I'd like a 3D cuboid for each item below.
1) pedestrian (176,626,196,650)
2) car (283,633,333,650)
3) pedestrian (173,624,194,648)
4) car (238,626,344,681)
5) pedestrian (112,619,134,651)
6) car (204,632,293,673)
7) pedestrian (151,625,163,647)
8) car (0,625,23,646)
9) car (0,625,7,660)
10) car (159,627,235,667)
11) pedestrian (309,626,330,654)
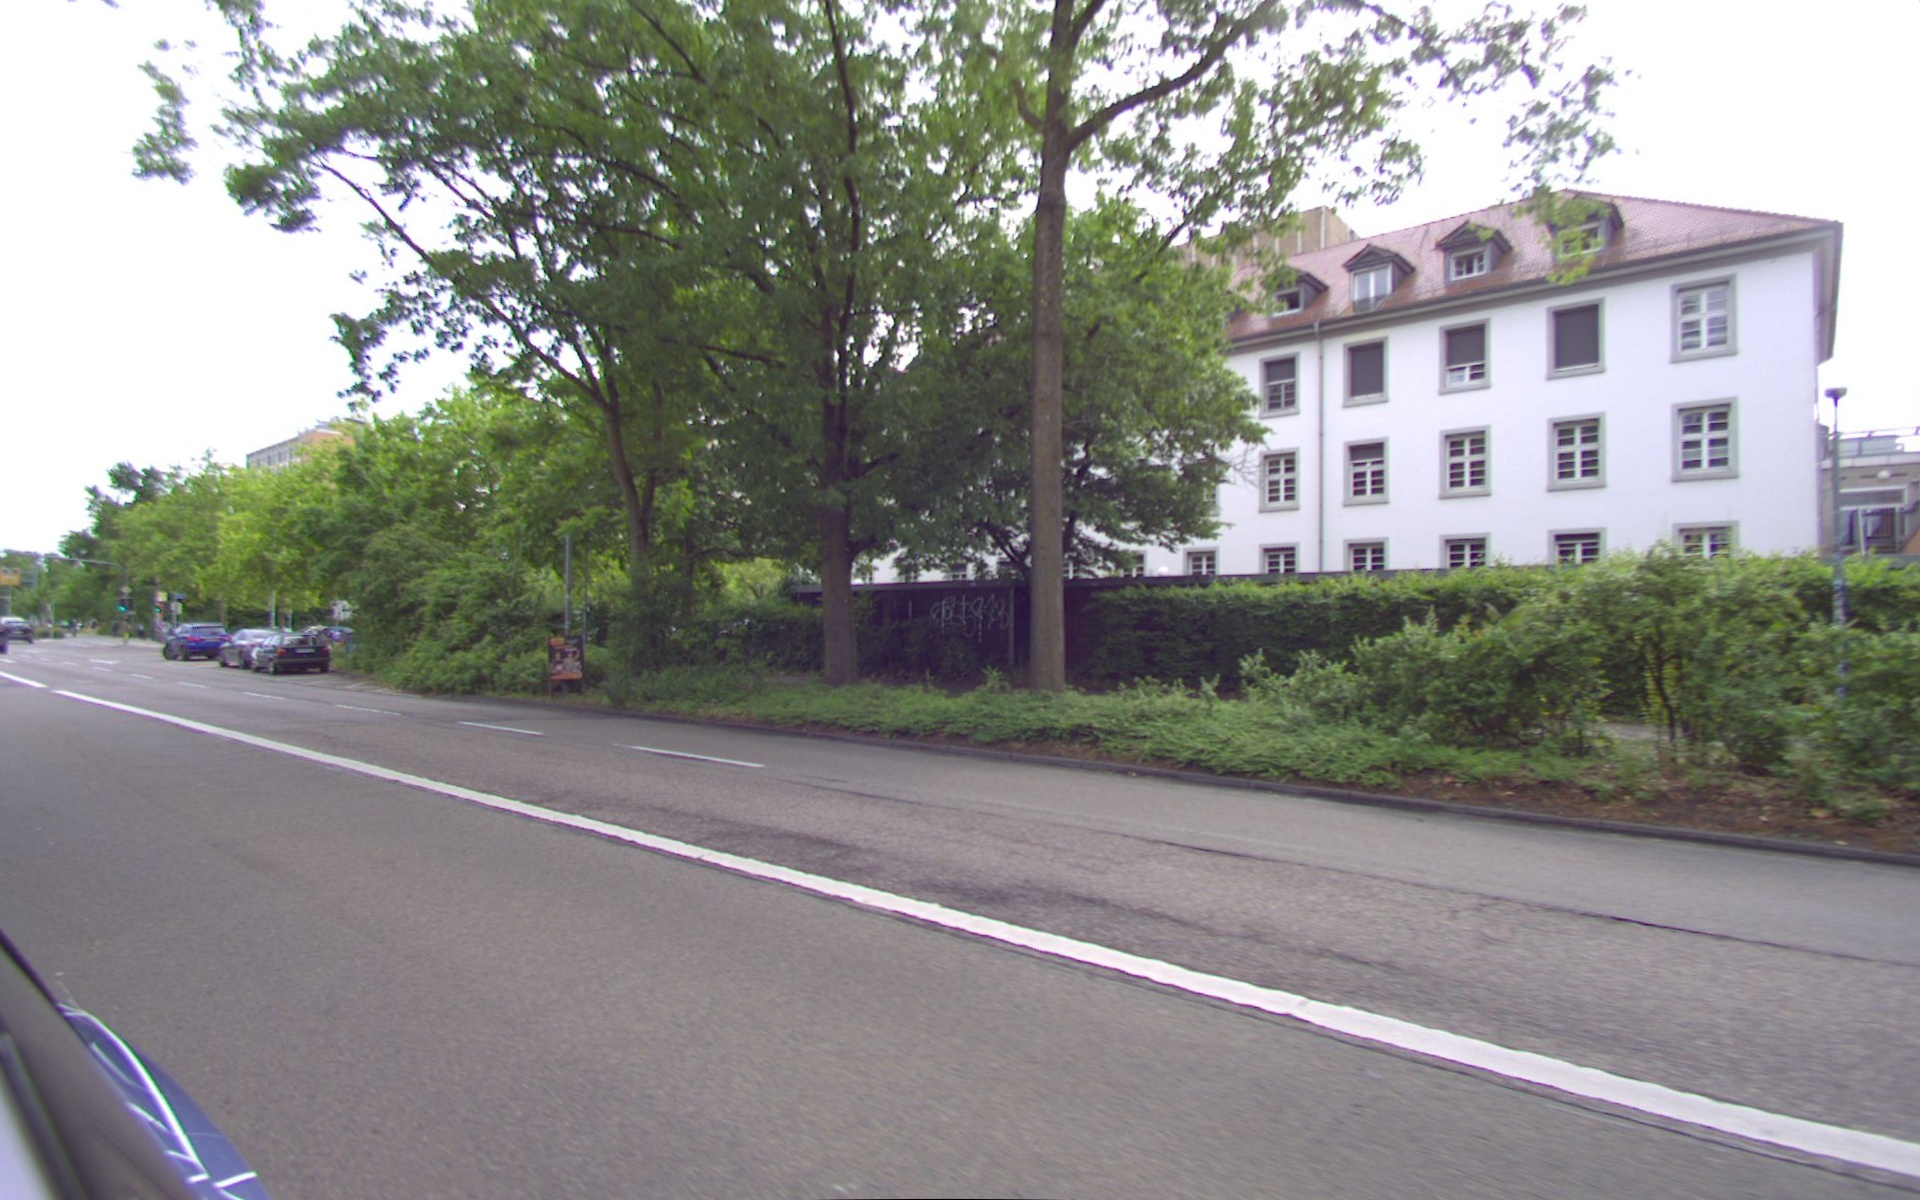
[{"bbox_3d":[-58.525,2.862,76.553,0.934,1.817,0.886,-1,-4,37],"label":"pedestrian"},{"bbox_3d":[-60.275,3.826,93.601,1.861,1.461,3.548,-2,-2,40],"label":"car"},{"bbox_3d":[-69.372,3.212,90.393,1.088,2.029,1.038,-1,-1,10],"label":"pedestrian"},{"bbox_3d":[-22.583,1.750,34.115,3.998,1.702,1.973,-1,0,41],"label":"car"},{"bbox_3d":[-55.148,2.308,66.651,1.008,2.029,0.885,-2,-3,39],"label":"pedestrian"},{"bbox_3d":[-26.449,1.921,37.550,4.730,1.435,1.852,-2,-4,45],"label":"car"},{"bbox_3d":[-64.605,2.898,81.391,0.653,1.708,0.583,-2,-4,43],"label":"pedestrian"},{"bbox_3d":[-88.786,3.314,94.559,1.751,1.862,4.492,0,-1,-43],"label":"car"},{"bbox_3d":[-46.447,1.966,47.582,4.514,1.605,1.883,-1,-3,41],"label":"car"},{"bbox_3d":[-33.179,1.996,43.983,4.592,1.620,1.839,-2,-1,42],"label":"car"},{"bbox_3d":[-46.973,2.905,74.238,1.091,2.029,0.789,0,-3,24],"label":"pedestrian"}]
